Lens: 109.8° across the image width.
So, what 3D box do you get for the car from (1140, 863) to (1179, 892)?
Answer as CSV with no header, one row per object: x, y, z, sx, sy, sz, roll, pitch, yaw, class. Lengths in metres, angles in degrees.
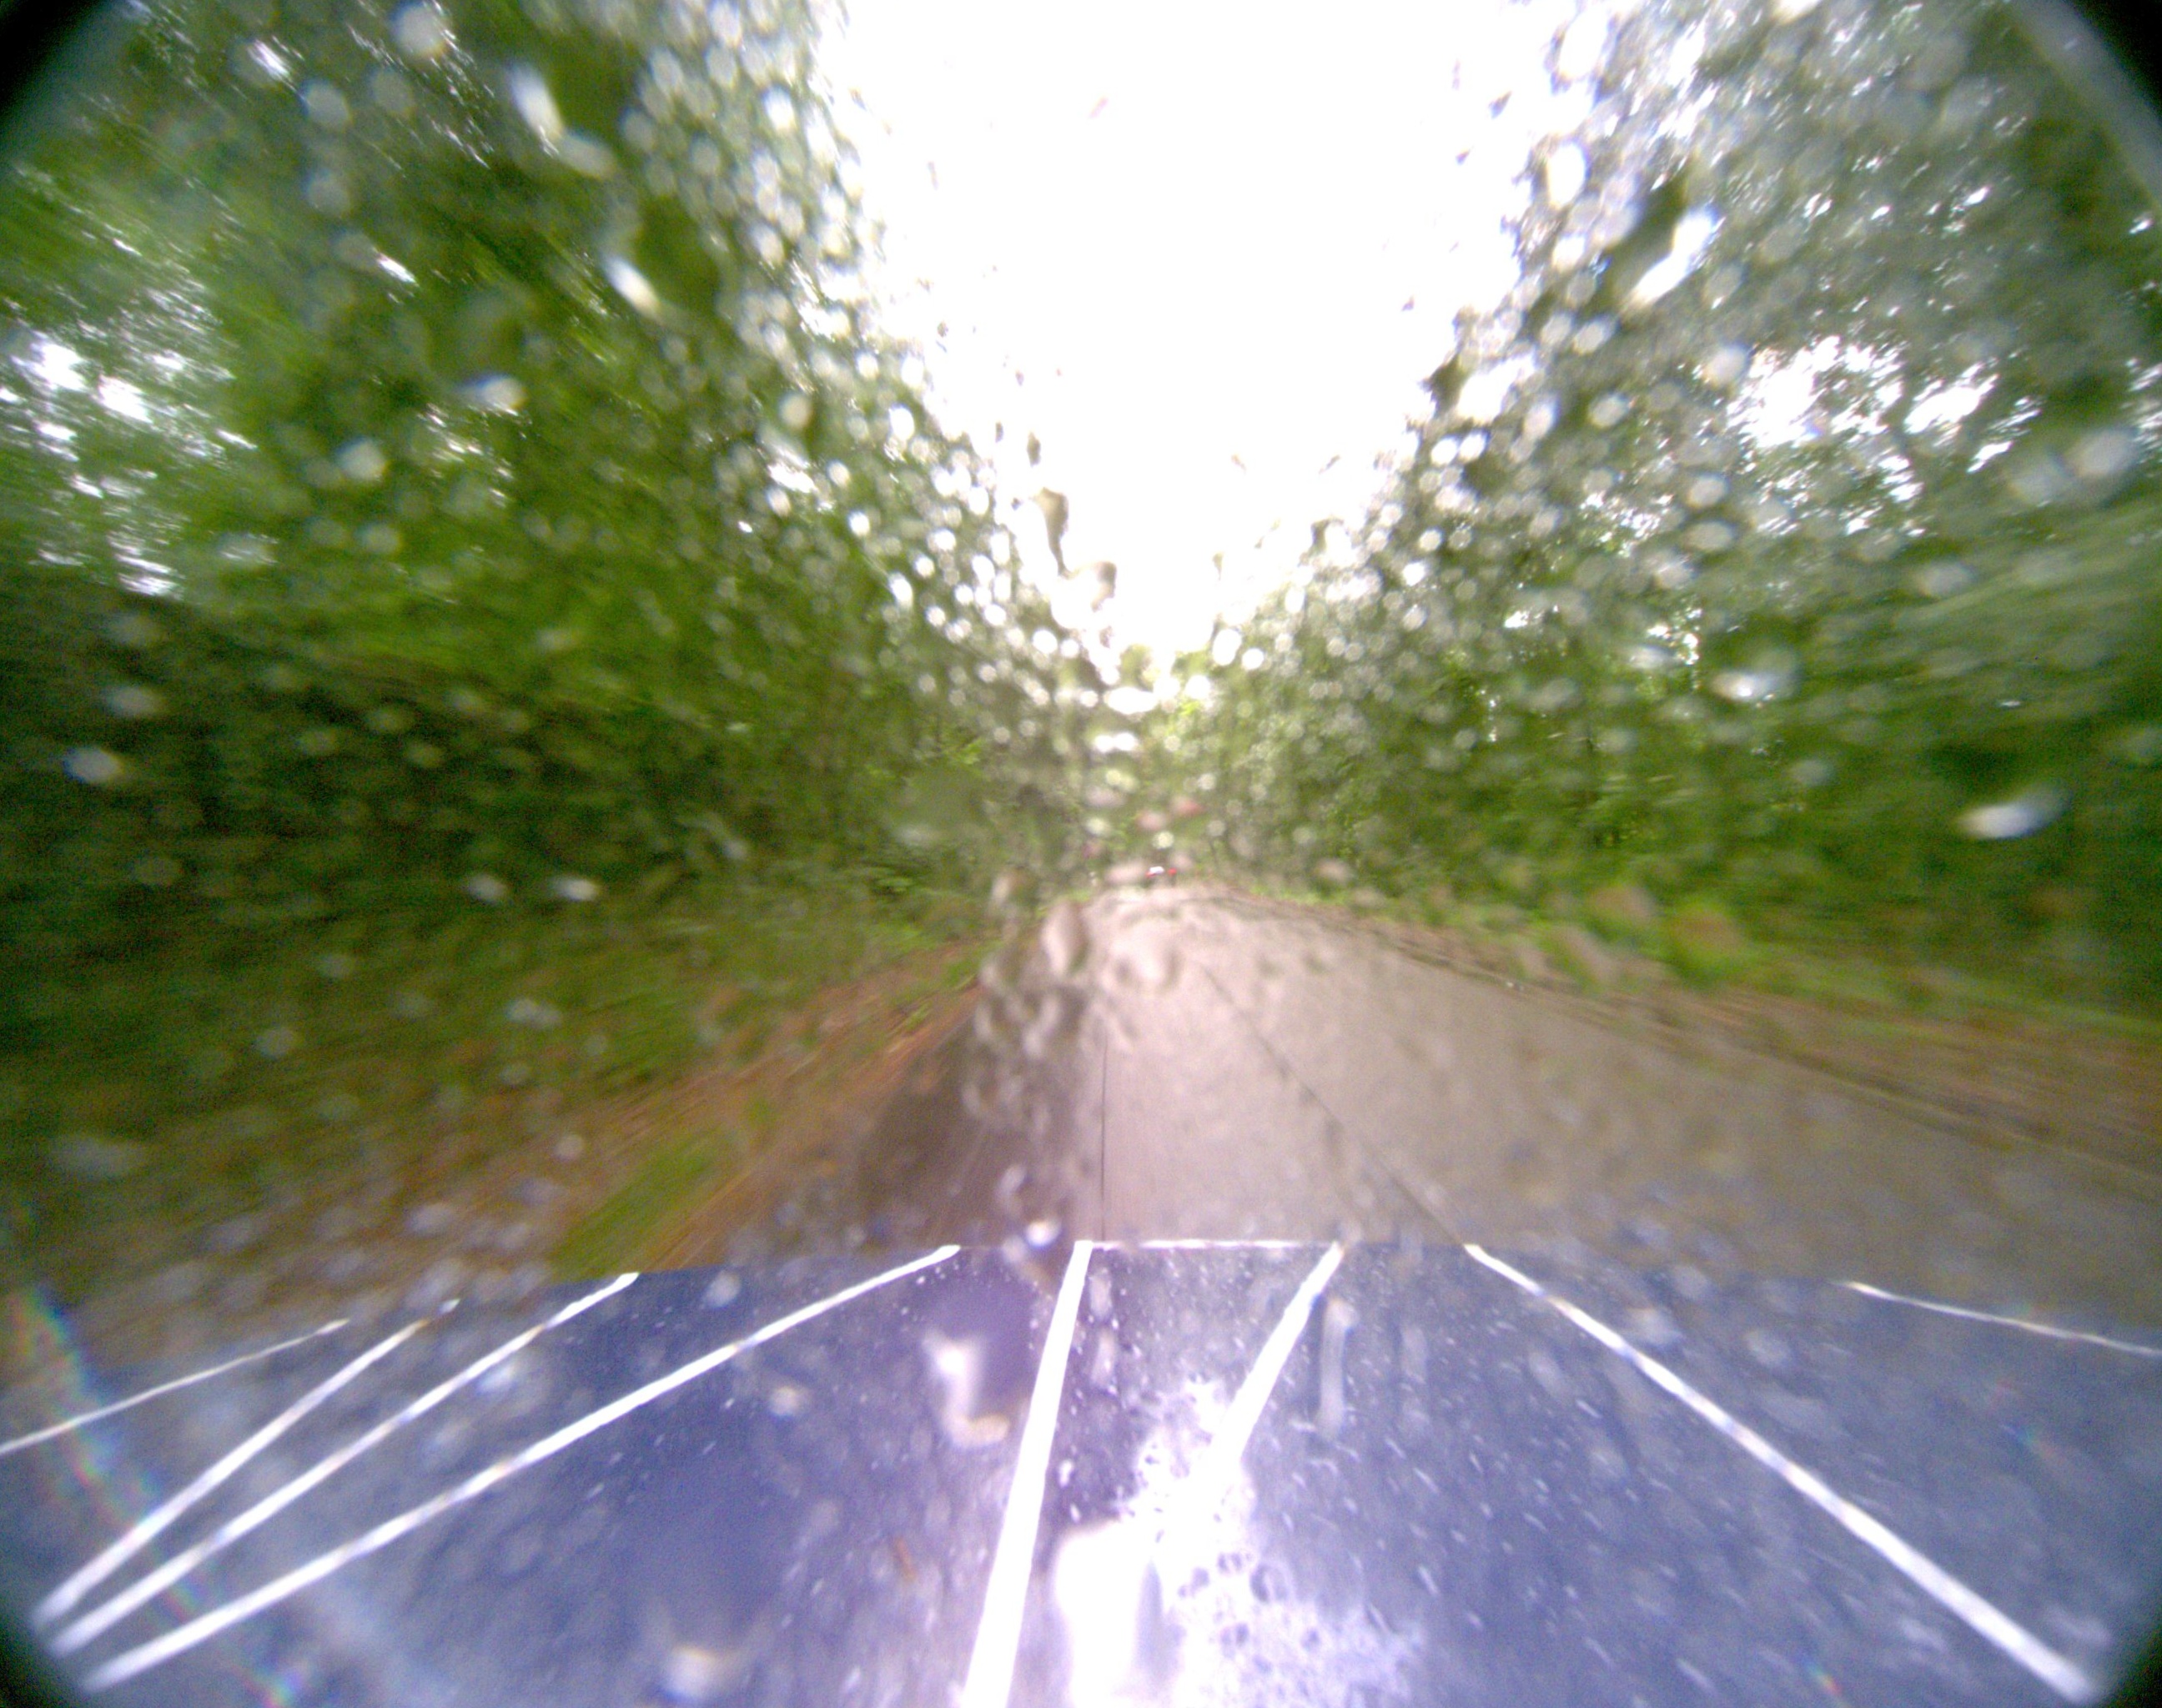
4.690,1.387,45.921,1.718,1.466,3.890,-6,-1,-2,car
